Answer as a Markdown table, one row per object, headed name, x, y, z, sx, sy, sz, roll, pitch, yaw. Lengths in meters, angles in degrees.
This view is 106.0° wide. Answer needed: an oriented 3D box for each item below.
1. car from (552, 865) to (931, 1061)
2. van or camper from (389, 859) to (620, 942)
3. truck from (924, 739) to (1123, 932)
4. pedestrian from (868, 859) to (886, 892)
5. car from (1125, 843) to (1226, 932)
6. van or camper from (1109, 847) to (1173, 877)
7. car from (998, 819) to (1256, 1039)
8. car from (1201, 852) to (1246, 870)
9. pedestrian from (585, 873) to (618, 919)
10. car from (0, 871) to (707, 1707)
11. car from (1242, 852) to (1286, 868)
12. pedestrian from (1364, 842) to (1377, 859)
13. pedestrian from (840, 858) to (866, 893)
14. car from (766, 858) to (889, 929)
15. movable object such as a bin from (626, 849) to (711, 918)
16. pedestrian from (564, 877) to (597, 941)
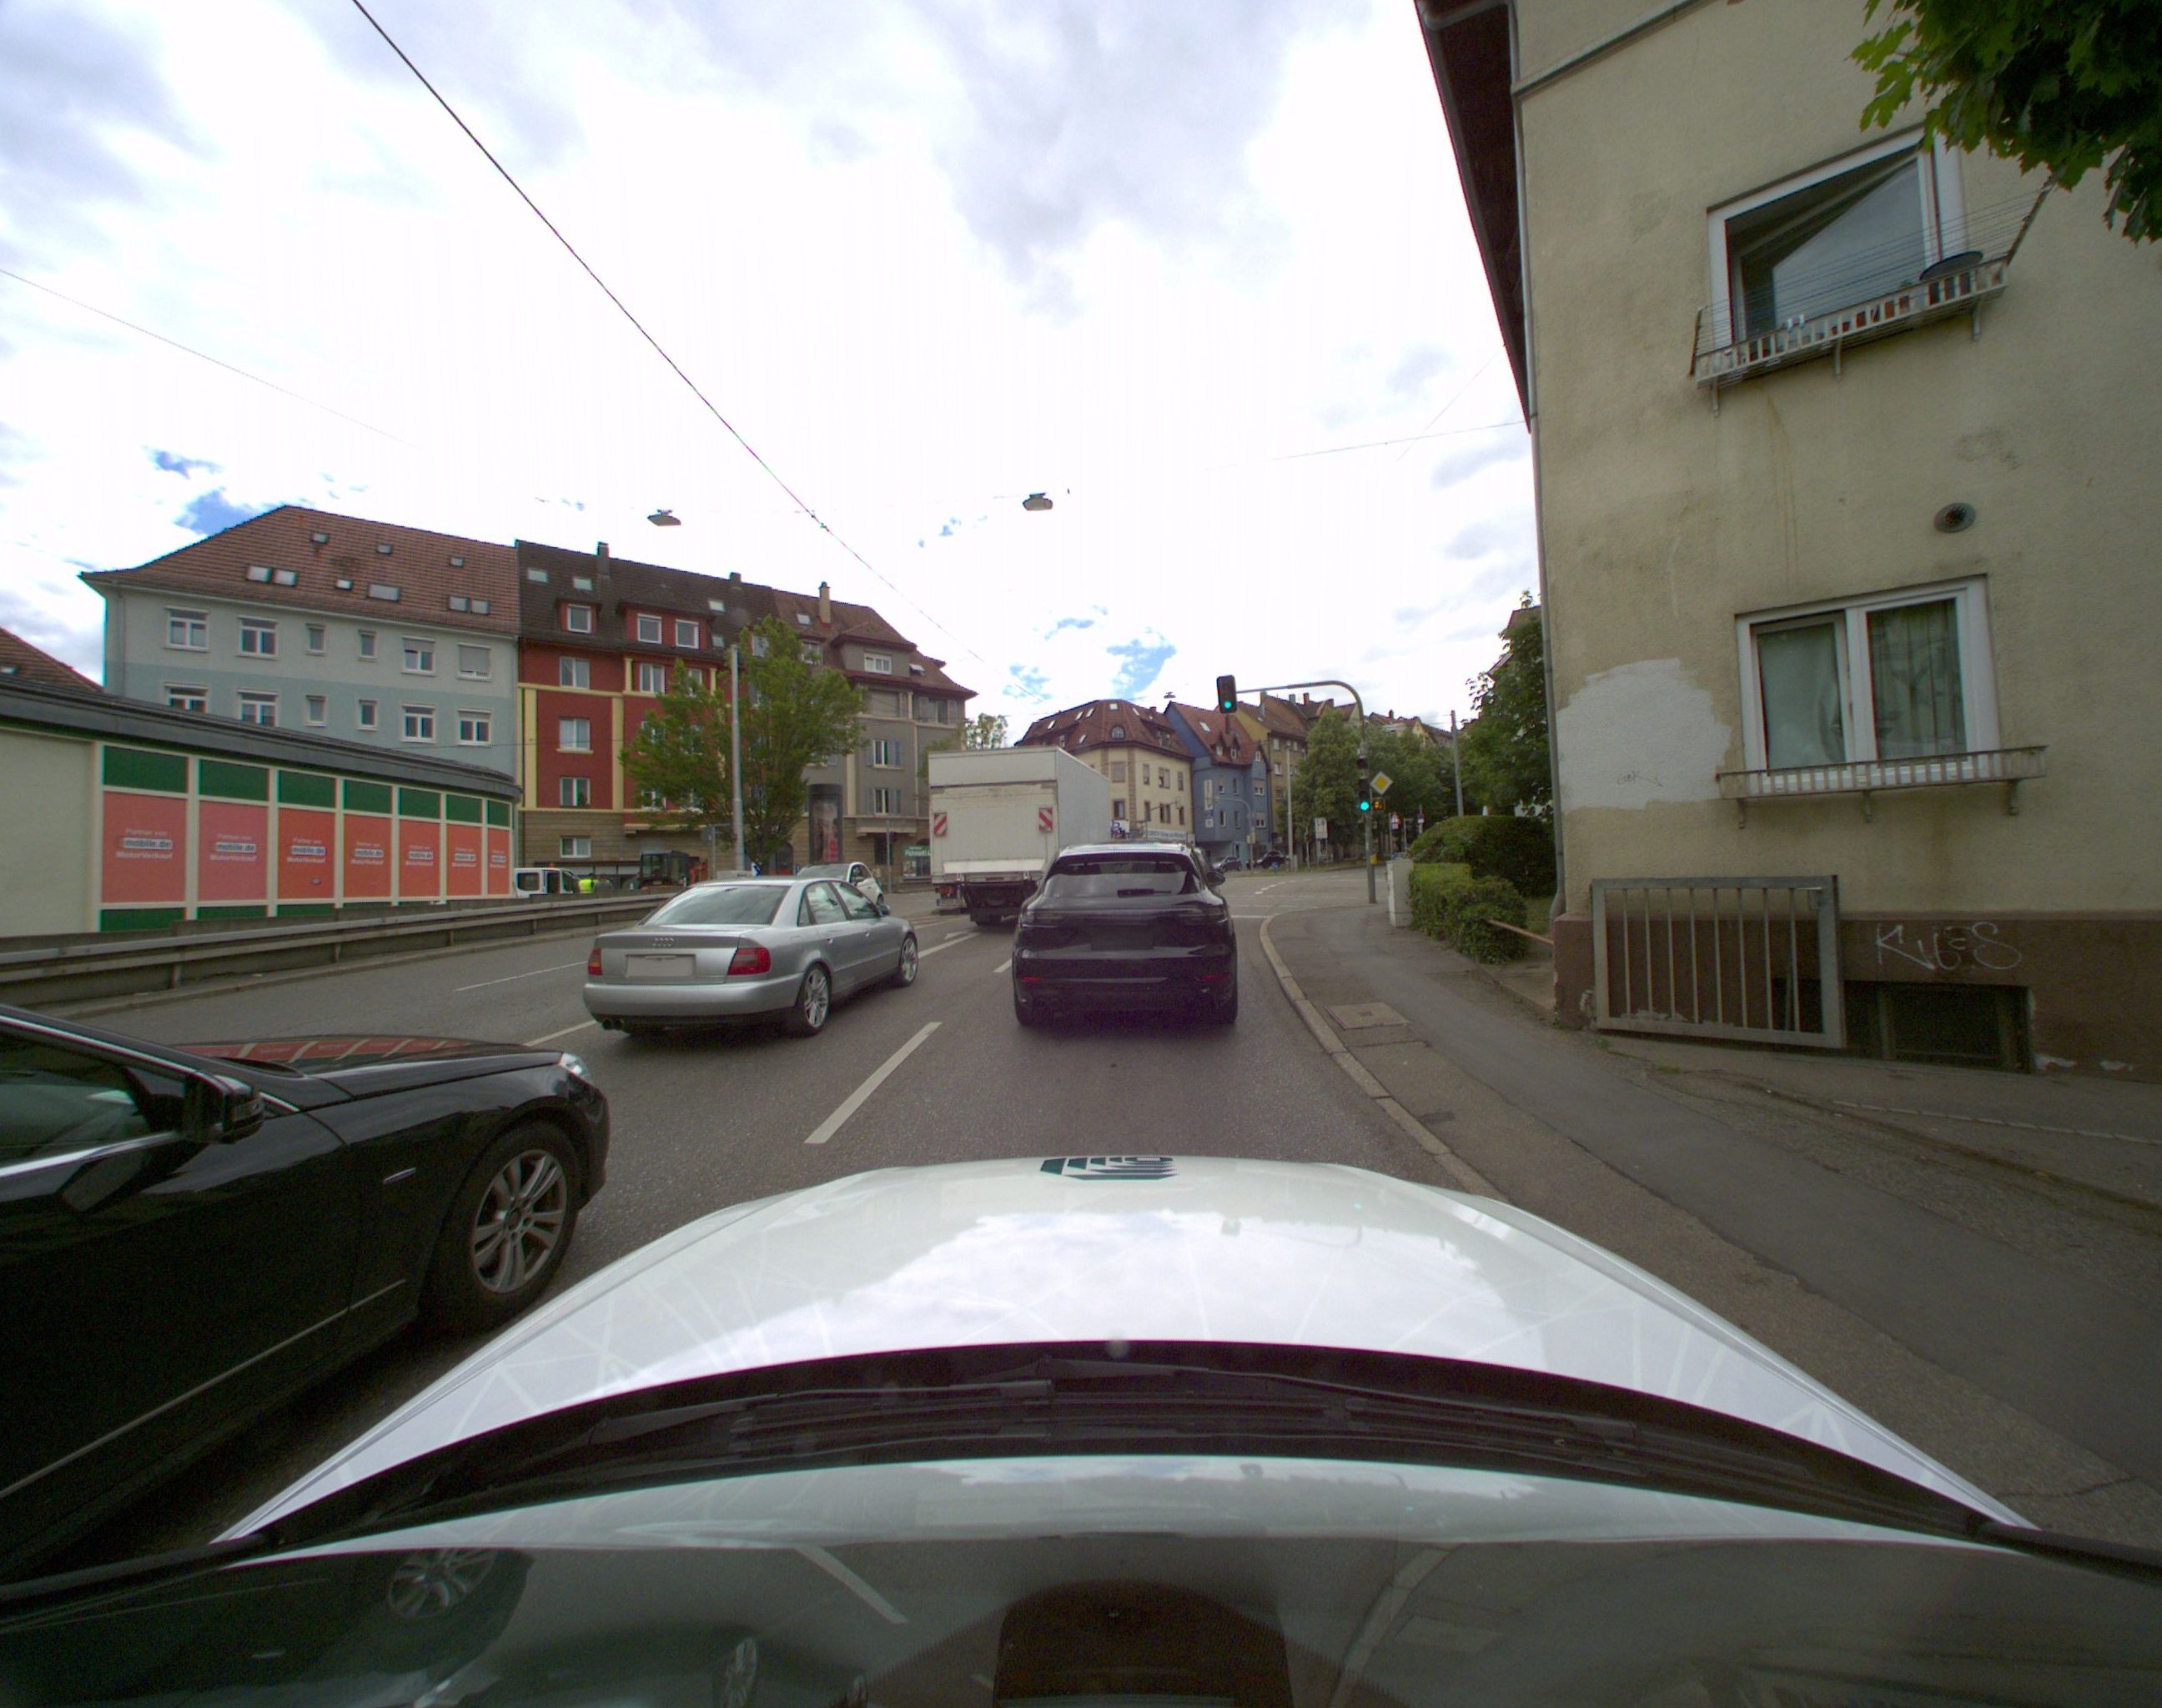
| name | x | y | z | sx | sy | sz | roll | pitch | yaw |
| --- | --- | --- | --- | --- | --- | --- | --- | --- | --- |
| car | -2.945 | 0.854 | 8.166 | 1.620 | 1.365 | 4.136 | -2 | 0 | 7 |
| van or camper | -18.986 | 1.432 | 27.272 | 6.028 | 2.338 | 2.661 | -1 | 0 | -33 |
| truck | -0.890 | -0.348 | 19.360 | 2.708 | 3.544 | 8.445 | 0 | 0 | 10 |
| pedestrian | -9.527 | 0.998 | 38.034 | 0.517 | 1.487 | 0.657 | -2 | 0 | 21 |
| car | 1.966 | 0.605 | 16.073 | 1.638 | 1.556 | 3.595 | -1 | -1 | 12 |
| van or camper | 4.236 | 0.574 | 58.243 | 2.008 | 2.014 | 4.778 | 0 | -1 | -35 |
| car | 0.433 | 0.576 | 8.684 | 2.024 | 1.723 | 4.502 | -1 | 0 | 2 |
| car | 12.452 | 0.595 | 70.970 | 1.700 | 1.476 | 4.244 | -4 | -2 | 44 |
| pedestrian | -14.692 | 1.267 | 24.943 | 0.594 | 1.363 | 0.630 | -2 | 0 | 35 |
| car | -2.859 | 0.819 | 1.456 | 1.986 | 1.429 | 4.844 | -1 | 0 | 2 |
| car | 17.129 | 0.574 | 76.155 | 1.852 | 1.416 | 4.726 | -3 | -2 | 44 |
| pedestrian | 35.300 | -0.436 | 99.237 | 1.181 | 2.013 | 0.995 | -2 | 0 | 42 |
| pedestrian | -10.254 | 0.969 | 36.590 | 0.785 | 1.546 | 0.743 | -1 | 0 | 29 |
| car | -5.915 | 0.866 | 19.443 | 1.591 | 1.447 | 3.533 | -3 | 0 | 3 |
| movable object such as a bin | -13.146 | 0.881 | 26.162 | 1.375 | 2.013 | 3.524 | -2 | 0 | -10 |
| pedestrian | -16.421 | 1.791 | 26.708 | 0.830 | 2.013 | 0.672 | -1 | 0 | -37 |
